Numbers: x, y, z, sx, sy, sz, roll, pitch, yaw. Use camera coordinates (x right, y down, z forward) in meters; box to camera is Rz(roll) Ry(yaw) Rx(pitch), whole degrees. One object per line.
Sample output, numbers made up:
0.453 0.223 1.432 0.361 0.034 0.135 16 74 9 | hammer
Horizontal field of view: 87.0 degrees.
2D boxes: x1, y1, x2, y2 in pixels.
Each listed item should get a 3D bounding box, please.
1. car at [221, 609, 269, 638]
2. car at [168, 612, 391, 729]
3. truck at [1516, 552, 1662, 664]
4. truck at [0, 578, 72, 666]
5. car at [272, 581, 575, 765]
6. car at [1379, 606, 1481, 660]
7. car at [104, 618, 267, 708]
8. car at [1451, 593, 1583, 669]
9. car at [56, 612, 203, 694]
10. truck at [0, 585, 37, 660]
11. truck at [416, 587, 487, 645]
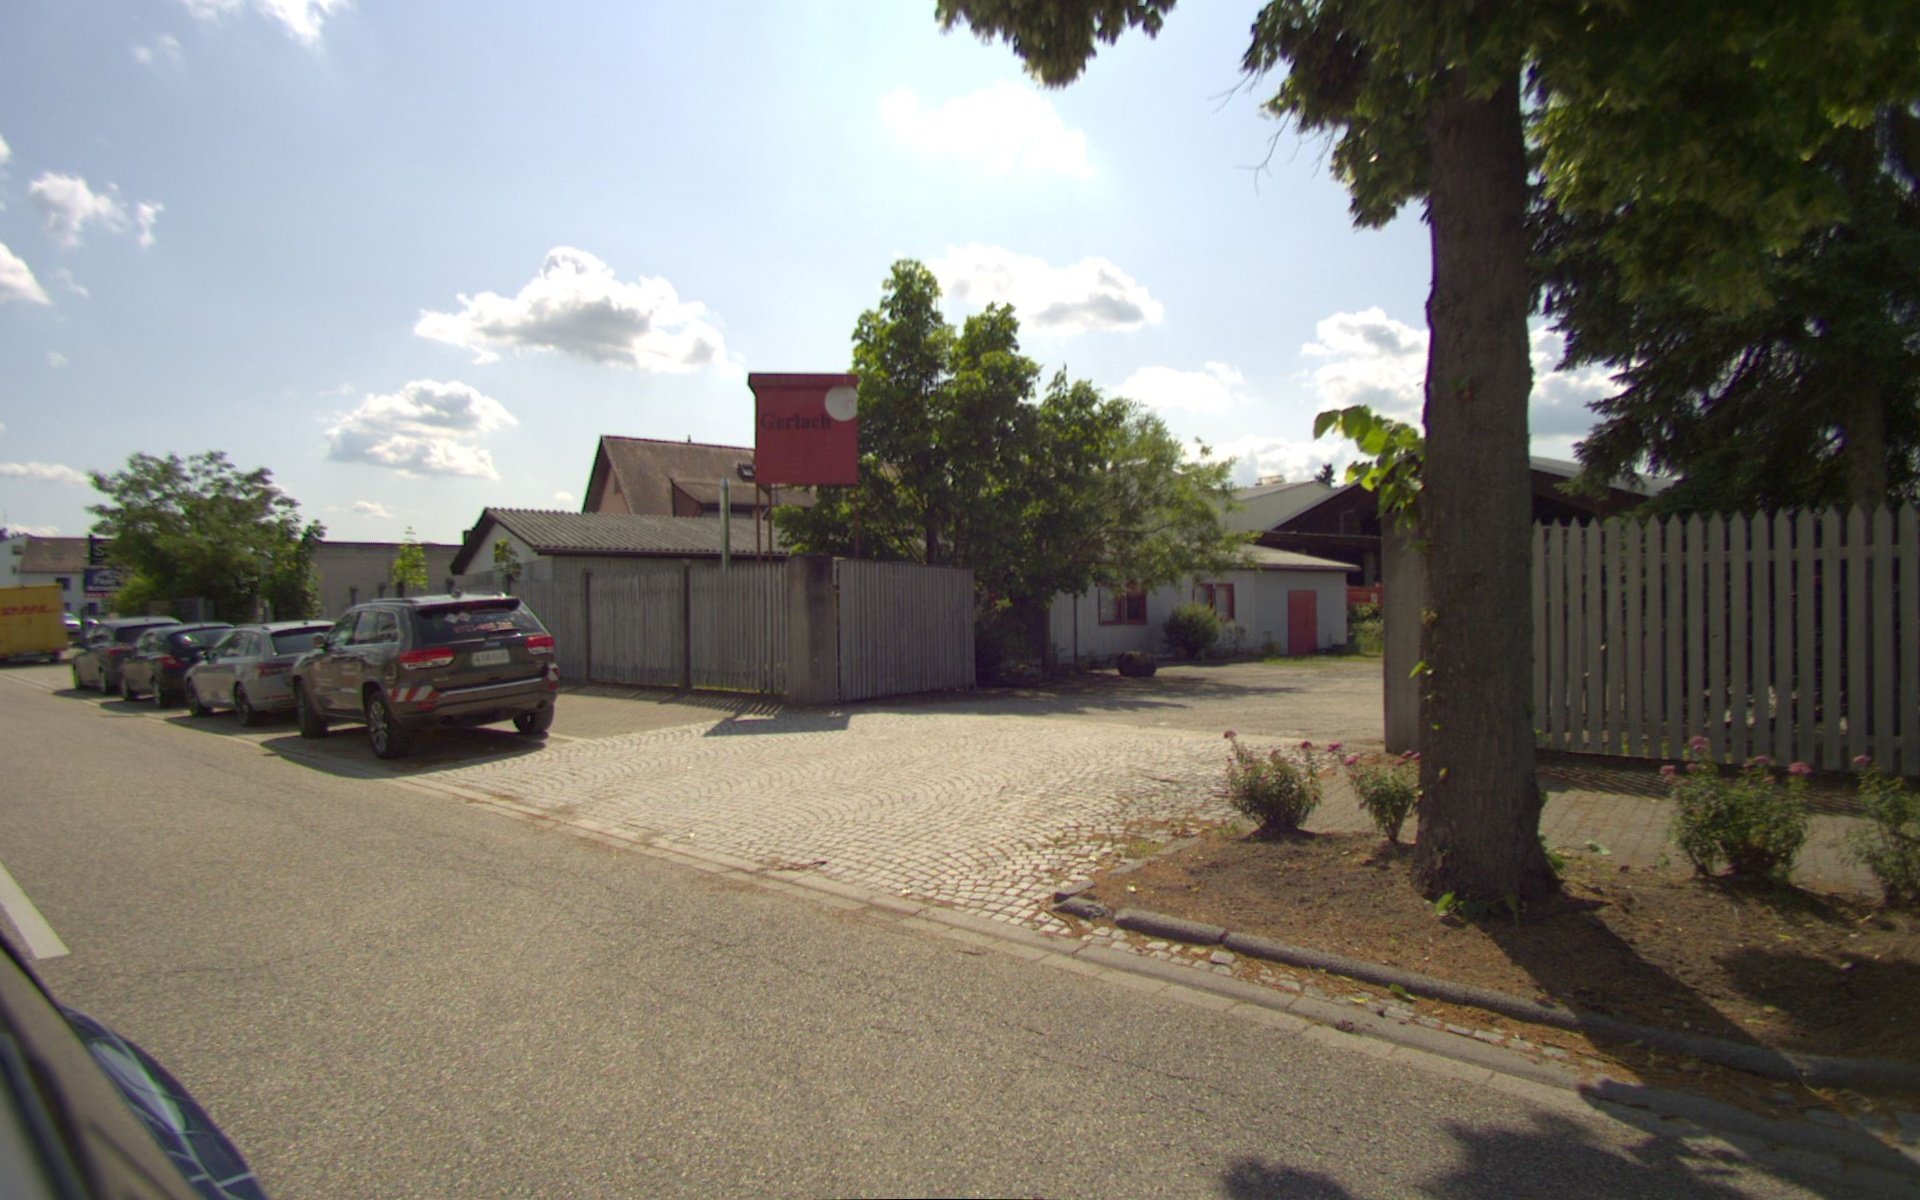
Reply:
-33.668 1.132 47.721 1.785 1.315 3.879 1 -2 -34 | car
-10.988 1.044 16.204 4.739 1.529 1.716 -2 1 41 | car
18.814 0.253 30.191 4.641 3.088 2.137 0 -1 -37 | truck
-34.234 0.777 36.479 7.100 2.884 2.292 -1 2 41 | truck
-6.840 0.757 12.640 4.786 1.836 1.898 -1 1 44 | car
13.603 0.940 29.240 1.702 1.467 3.311 -1 -2 43 | car
-15.242 1.171 19.857 4.023 1.459 1.612 -1 3 40 | car
14.287 0.769 25.926 3.306 1.789 1.853 1 0 -40 | car
-19.089 1.153 23.191 4.409 1.616 1.708 -1 2 39 | car
-39.541 0.961 41.000 7.169 2.876 2.246 -2 0 40 | truck
-23.700 0.735 47.024 2.082 2.507 5.734 0 -1 -35 | truck
